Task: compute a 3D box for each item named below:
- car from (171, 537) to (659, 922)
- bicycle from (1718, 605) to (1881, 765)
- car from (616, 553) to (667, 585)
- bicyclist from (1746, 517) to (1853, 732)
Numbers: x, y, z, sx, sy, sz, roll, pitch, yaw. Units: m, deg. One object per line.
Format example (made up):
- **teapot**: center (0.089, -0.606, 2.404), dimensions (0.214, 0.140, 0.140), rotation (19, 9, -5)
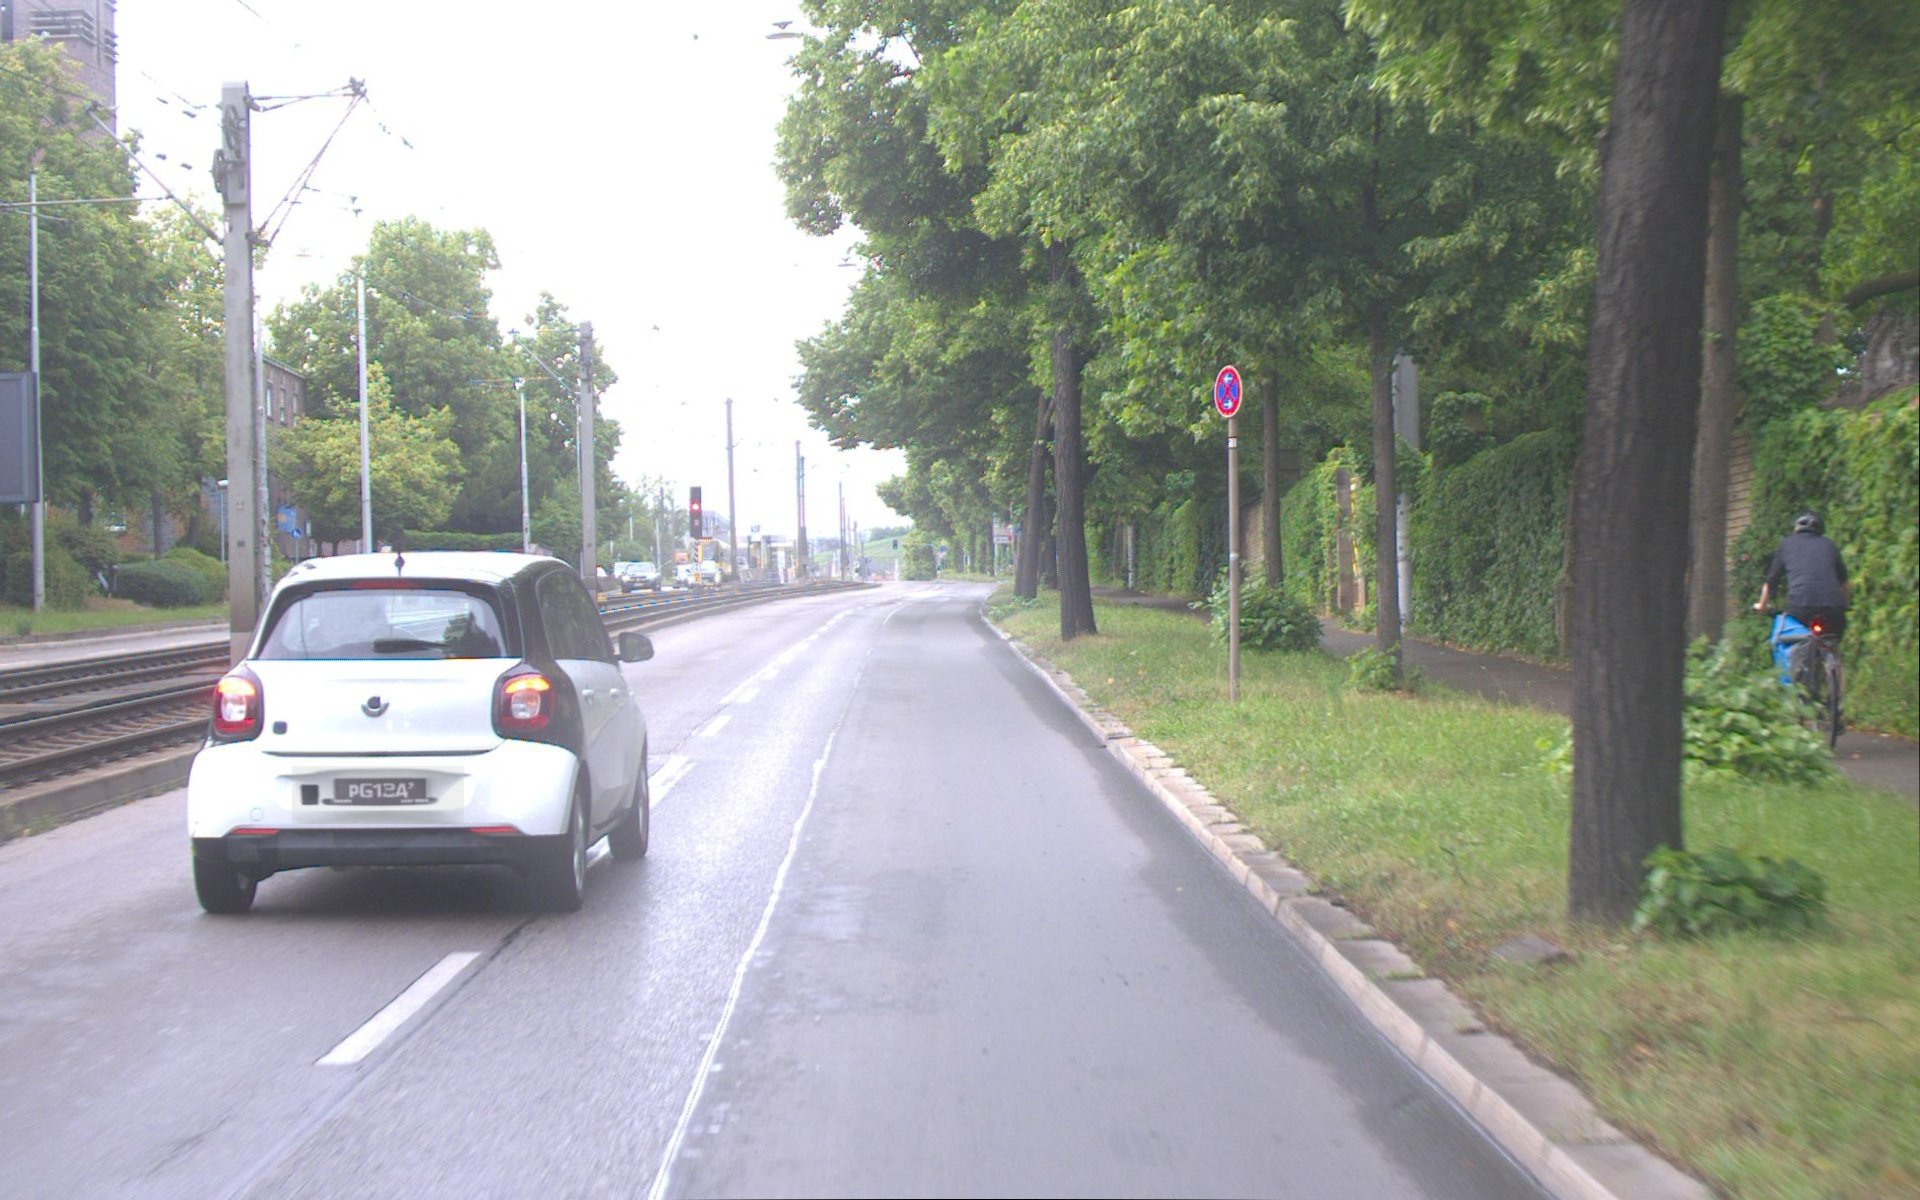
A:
- **car**: center (-2.383, 0.496, 15.876), dimensions (1.676, 1.525, 3.722), rotation (-2, 1, -1)
- **bicycle**: center (5.539, 0.535, 22.815), dimensions (0.543, 0.945, 2.549), rotation (-1, 1, 3)
- **car**: center (-17.039, -1.662, 184.309), dimensions (2.013, 1.650, 4.616), rotation (-1, 1, 3)
- **bicyclist**: center (5.529, 0.152, 22.653), dimensions (0.535, 1.385, 0.666), rotation (-1, 1, 2)
